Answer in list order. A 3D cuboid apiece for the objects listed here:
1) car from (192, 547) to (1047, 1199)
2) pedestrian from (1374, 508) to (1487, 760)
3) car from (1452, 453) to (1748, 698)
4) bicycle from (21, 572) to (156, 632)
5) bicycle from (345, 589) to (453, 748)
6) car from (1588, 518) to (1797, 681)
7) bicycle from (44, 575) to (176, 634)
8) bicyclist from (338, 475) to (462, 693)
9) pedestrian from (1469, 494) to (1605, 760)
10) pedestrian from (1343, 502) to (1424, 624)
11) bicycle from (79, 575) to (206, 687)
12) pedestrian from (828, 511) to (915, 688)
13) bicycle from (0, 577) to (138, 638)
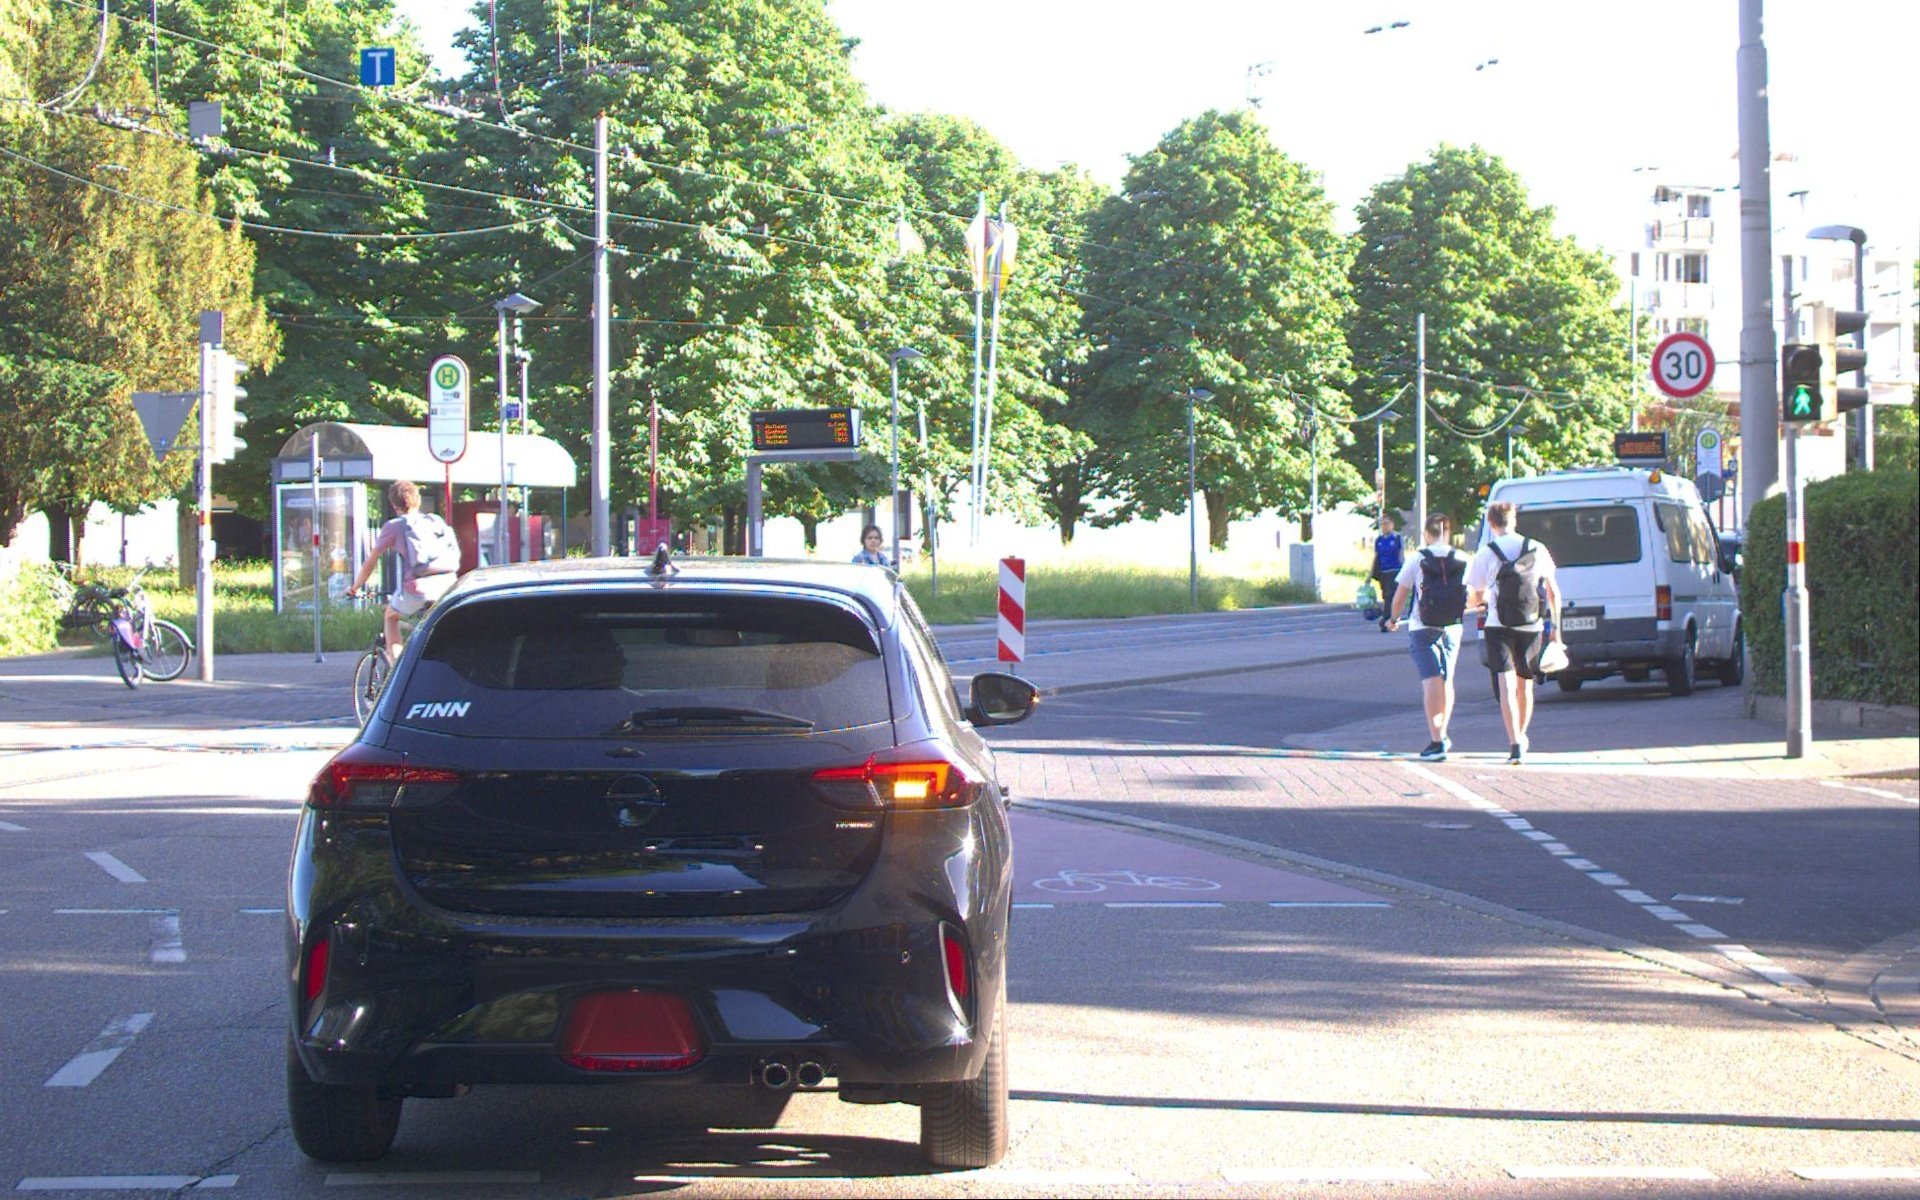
[{"bbox_3d":[-0.765,0.588,9.254,1.800,1.436,3.940,0,1,-1],"label":"car"},{"bbox_3d":[3.373,0.237,24.690,0.698,1.786,0.617,0,1,-3],"label":"pedestrian"},{"bbox_3d":[6.467,-0.235,34.350,2.092,2.270,4.301,1,0,21],"label":"car"},{"bbox_3d":[-13.265,0.030,52.362,1.877,0.903,0.659,0,1,5],"label":"bicycle"},{"bbox_3d":[-4.027,0.465,24.582,0.667,1.056,2.083,0,1,-12],"label":"bicycle"},{"bbox_3d":[8.406,-0.048,39.245,1.802,1.757,3.887,0,1,20],"label":"car"},{"bbox_3d":[-13.161,0.063,53.238,1.877,0.903,0.659,0,1,5],"label":"bicycle"},{"bbox_3d":[-4.005,-0.128,24.512,0.840,1.504,1.369,0,1,-11],"label":"bicyclist"},{"bbox_3d":[4.077,0.177,24.272,0.704,1.840,0.699,0,1,37],"label":"pedestrian"},{"bbox_3d":[6.311,-0.557,51.258,0.959,1.786,0.994,0,1,23],"label":"pedestrian"},{"bbox_3d":[-8.156,0.295,34.363,0.825,1.056,1.883,0,1,0],"label":"bicycle"},{"bbox_3d":[-0.862,-0.014,33.259,0.698,1.687,0.728,0,1,-14],"label":"pedestrian"},{"bbox_3d":[-13.309,0.106,51.375,1.877,0.903,0.659,0,1,5],"label":"bicycle"}]
